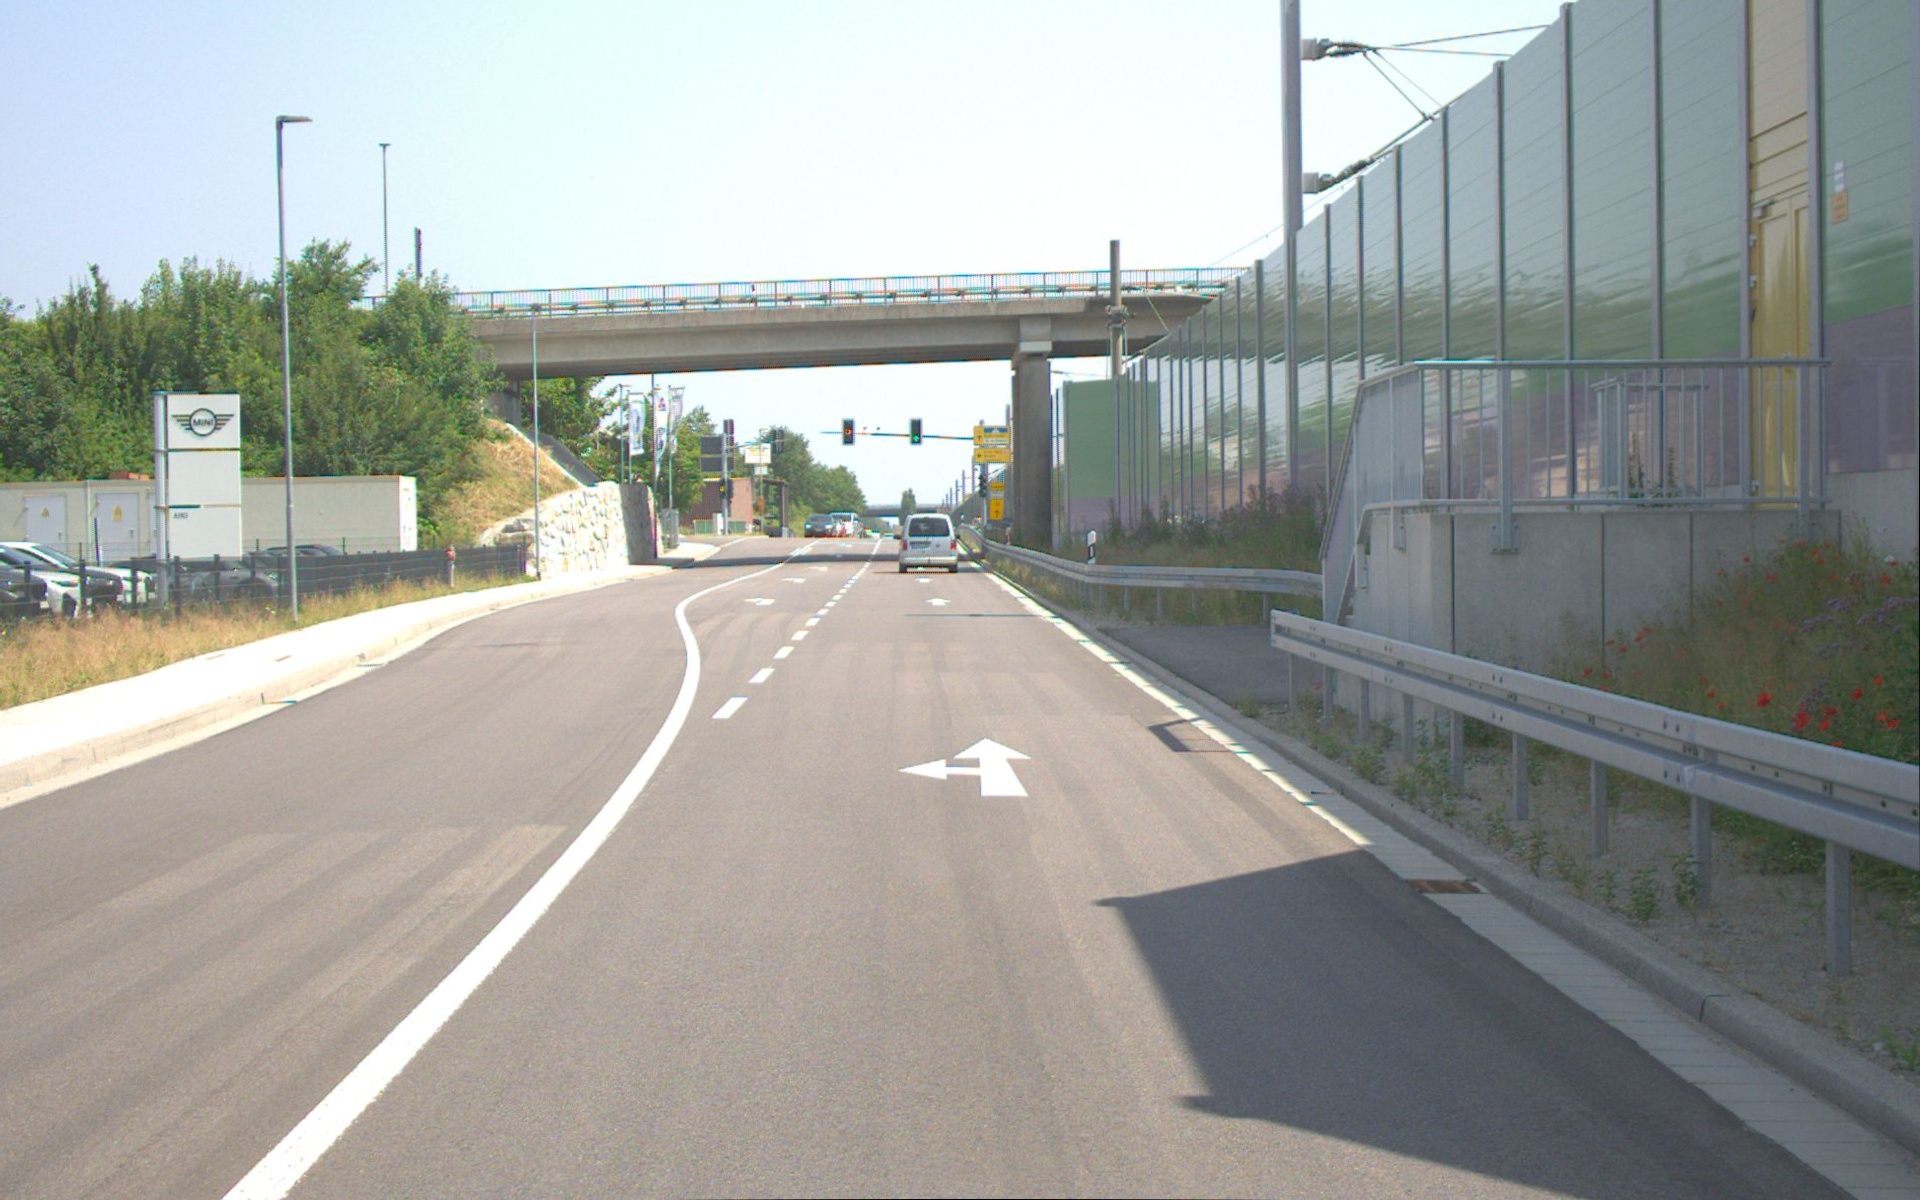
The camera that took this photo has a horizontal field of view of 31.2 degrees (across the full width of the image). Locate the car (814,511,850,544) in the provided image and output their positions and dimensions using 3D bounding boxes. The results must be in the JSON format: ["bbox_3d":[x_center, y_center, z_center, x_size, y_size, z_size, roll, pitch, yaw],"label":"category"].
[{"bbox_3d":[-7.708,-4.365,207.177,1.993,1.919,4.000,-1,1,-1],"label":"car"}]

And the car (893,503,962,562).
[{"bbox_3d":[-0.977,-2.073,104.866,1.993,1.751,4.000,-1,2,1],"label":"car"}]

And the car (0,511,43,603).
[{"bbox_3d":[-17.324,-0.676,56.177,4.164,1.461,1.815,-1,2,0],"label":"car"}]

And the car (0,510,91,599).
[{"bbox_3d":[-17.273,-0.759,59.142,4.164,1.461,1.815,-1,2,0],"label":"car"}]

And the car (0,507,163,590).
[{"bbox_3d":[-17.344,-0.963,64.859,4.164,1.461,1.815,-1,2,0],"label":"car"}]
